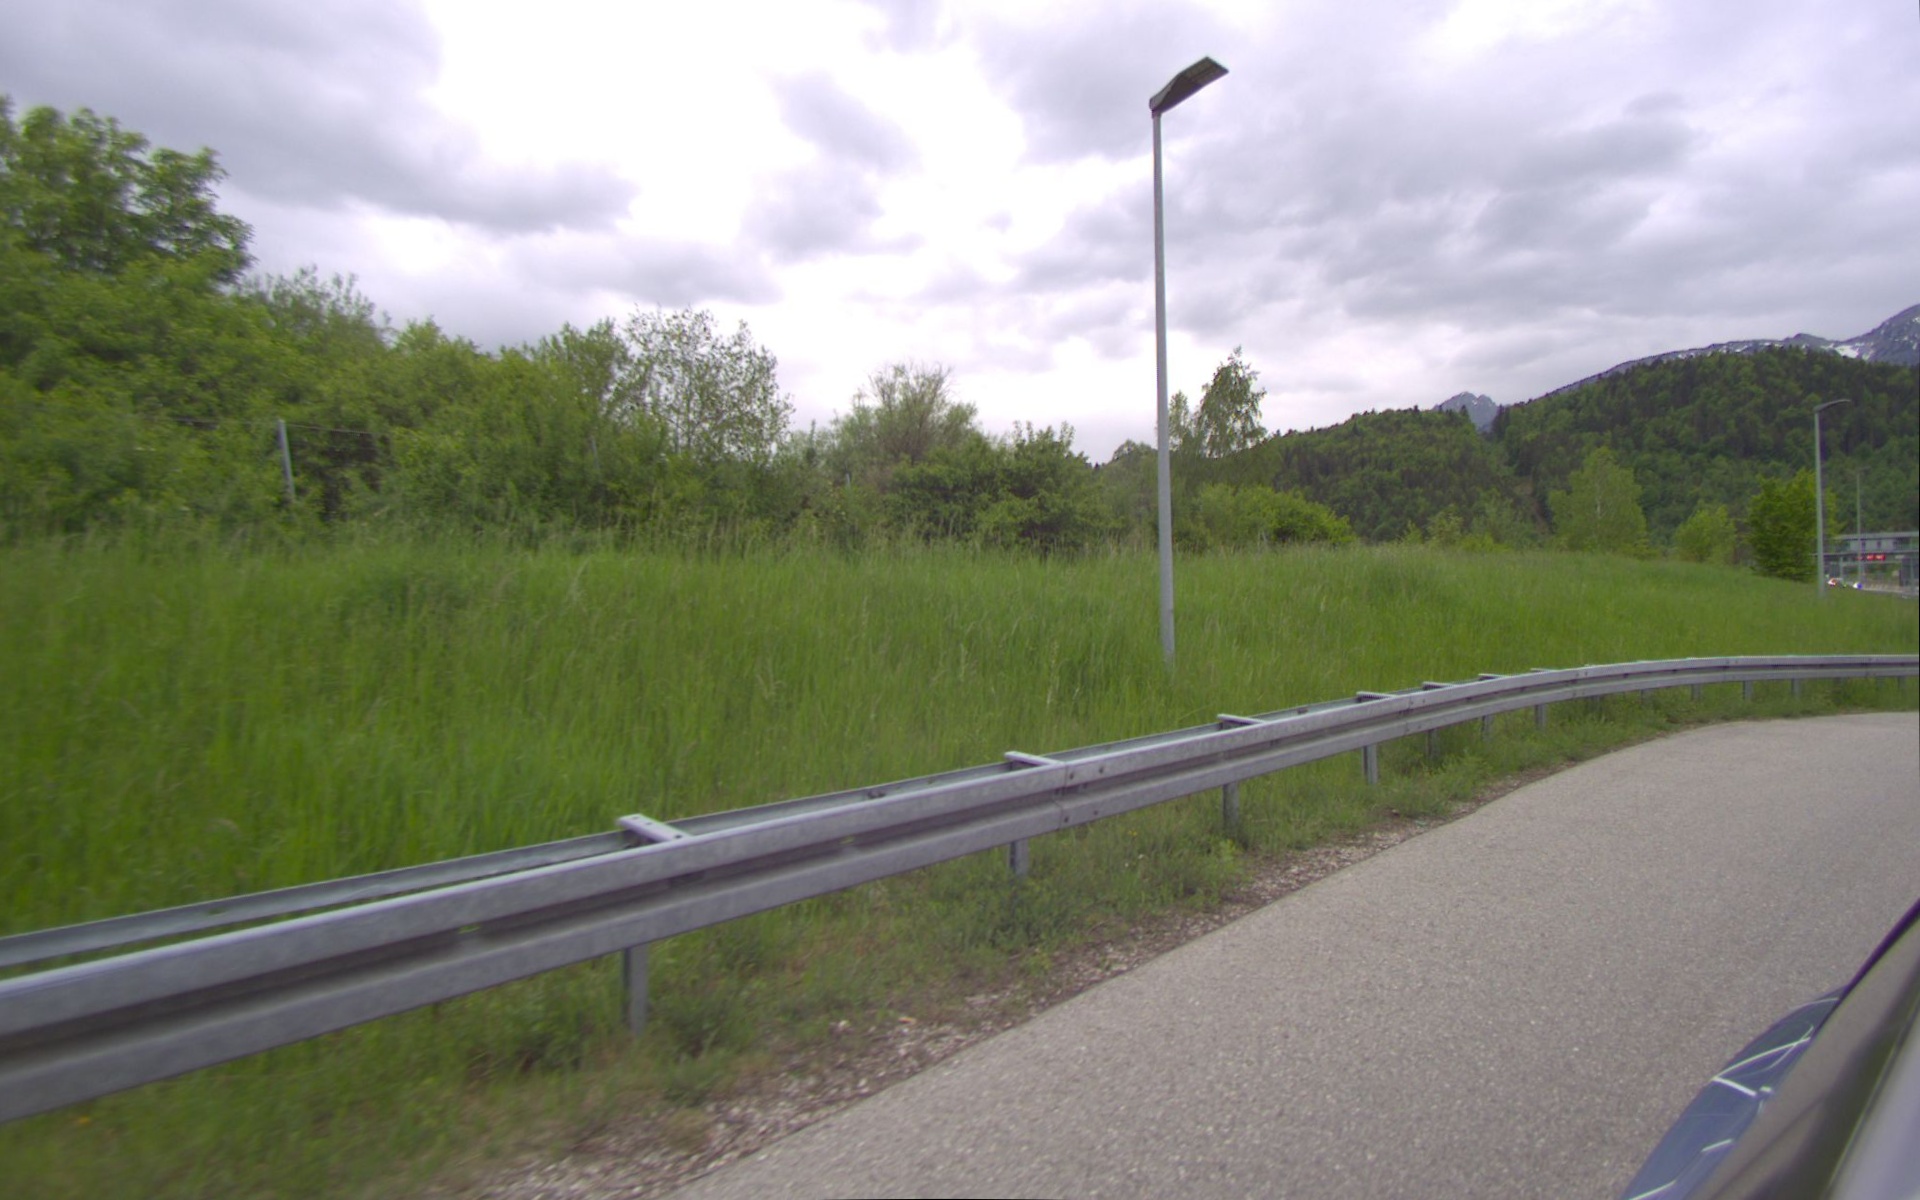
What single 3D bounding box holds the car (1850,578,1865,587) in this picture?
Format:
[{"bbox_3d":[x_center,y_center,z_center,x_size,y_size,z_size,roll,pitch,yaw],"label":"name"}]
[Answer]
[{"bbox_3d":[158.047,-3.078,178.201,1.729,1.677,3.944,1,2,39],"label":"car"}]
